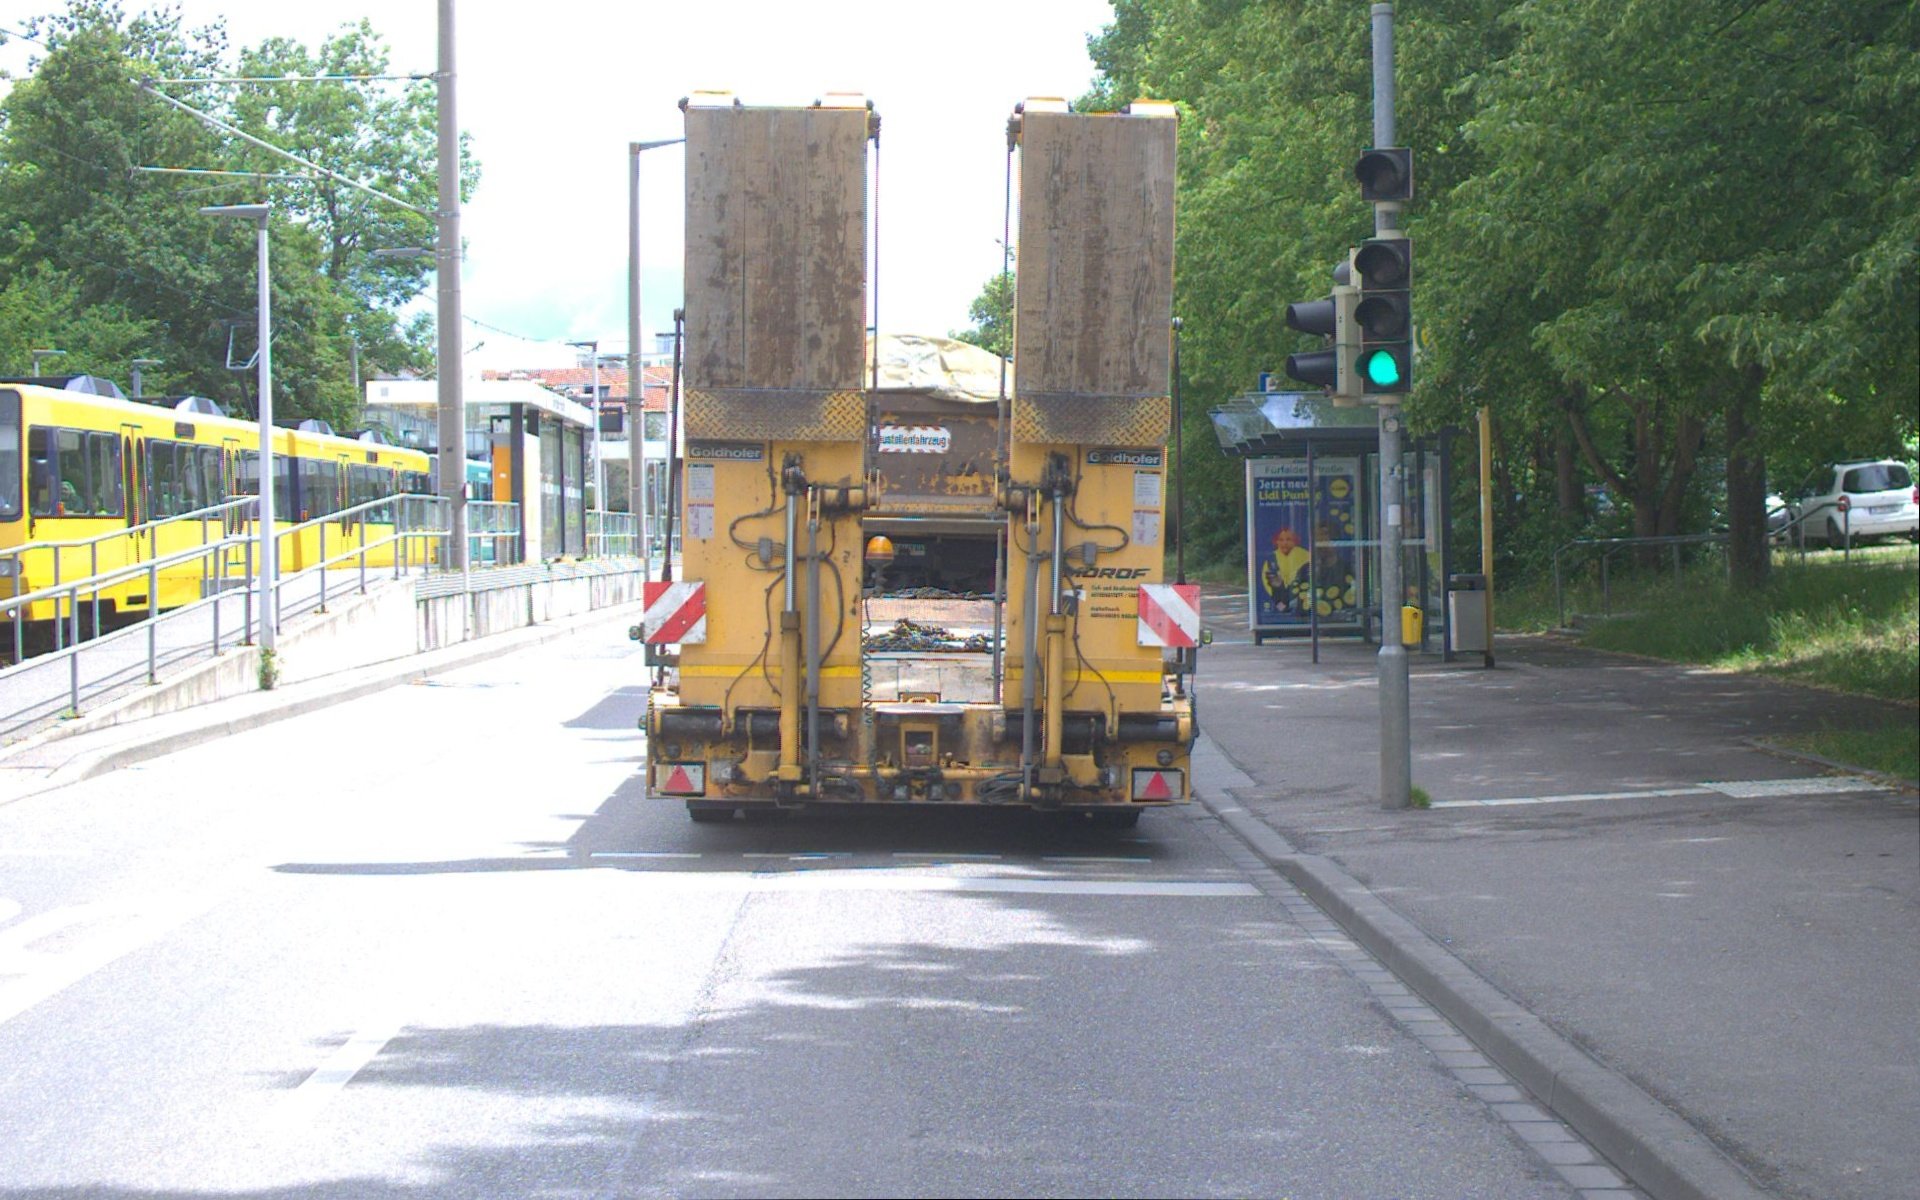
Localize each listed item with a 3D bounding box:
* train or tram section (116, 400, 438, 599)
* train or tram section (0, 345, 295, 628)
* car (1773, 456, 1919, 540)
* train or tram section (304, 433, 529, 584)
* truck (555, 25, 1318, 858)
[{"bbox_3d":[-13.546,-1.959,70.406,3.108,3.453,18.998,1,1,-1],"label":"train or tram section"},{"bbox_3d":[-13.179,-1.596,51.457,3.108,3.453,18.828,1,1,-1],"label":"train or tram section"},{"bbox_3d":[16.441,-1.862,63.359,1.841,1.415,4.124,-3,1,0],"label":"car"},{"bbox_3d":[-13.849,-2.318,89.532,3.108,3.453,19.200,1,1,-1],"label":"train or tram section"},{"bbox_3d":[-0.491,-0.854,22.298,3.402,3.719,13.741,-1,1,-3],"label":"truck"}]
